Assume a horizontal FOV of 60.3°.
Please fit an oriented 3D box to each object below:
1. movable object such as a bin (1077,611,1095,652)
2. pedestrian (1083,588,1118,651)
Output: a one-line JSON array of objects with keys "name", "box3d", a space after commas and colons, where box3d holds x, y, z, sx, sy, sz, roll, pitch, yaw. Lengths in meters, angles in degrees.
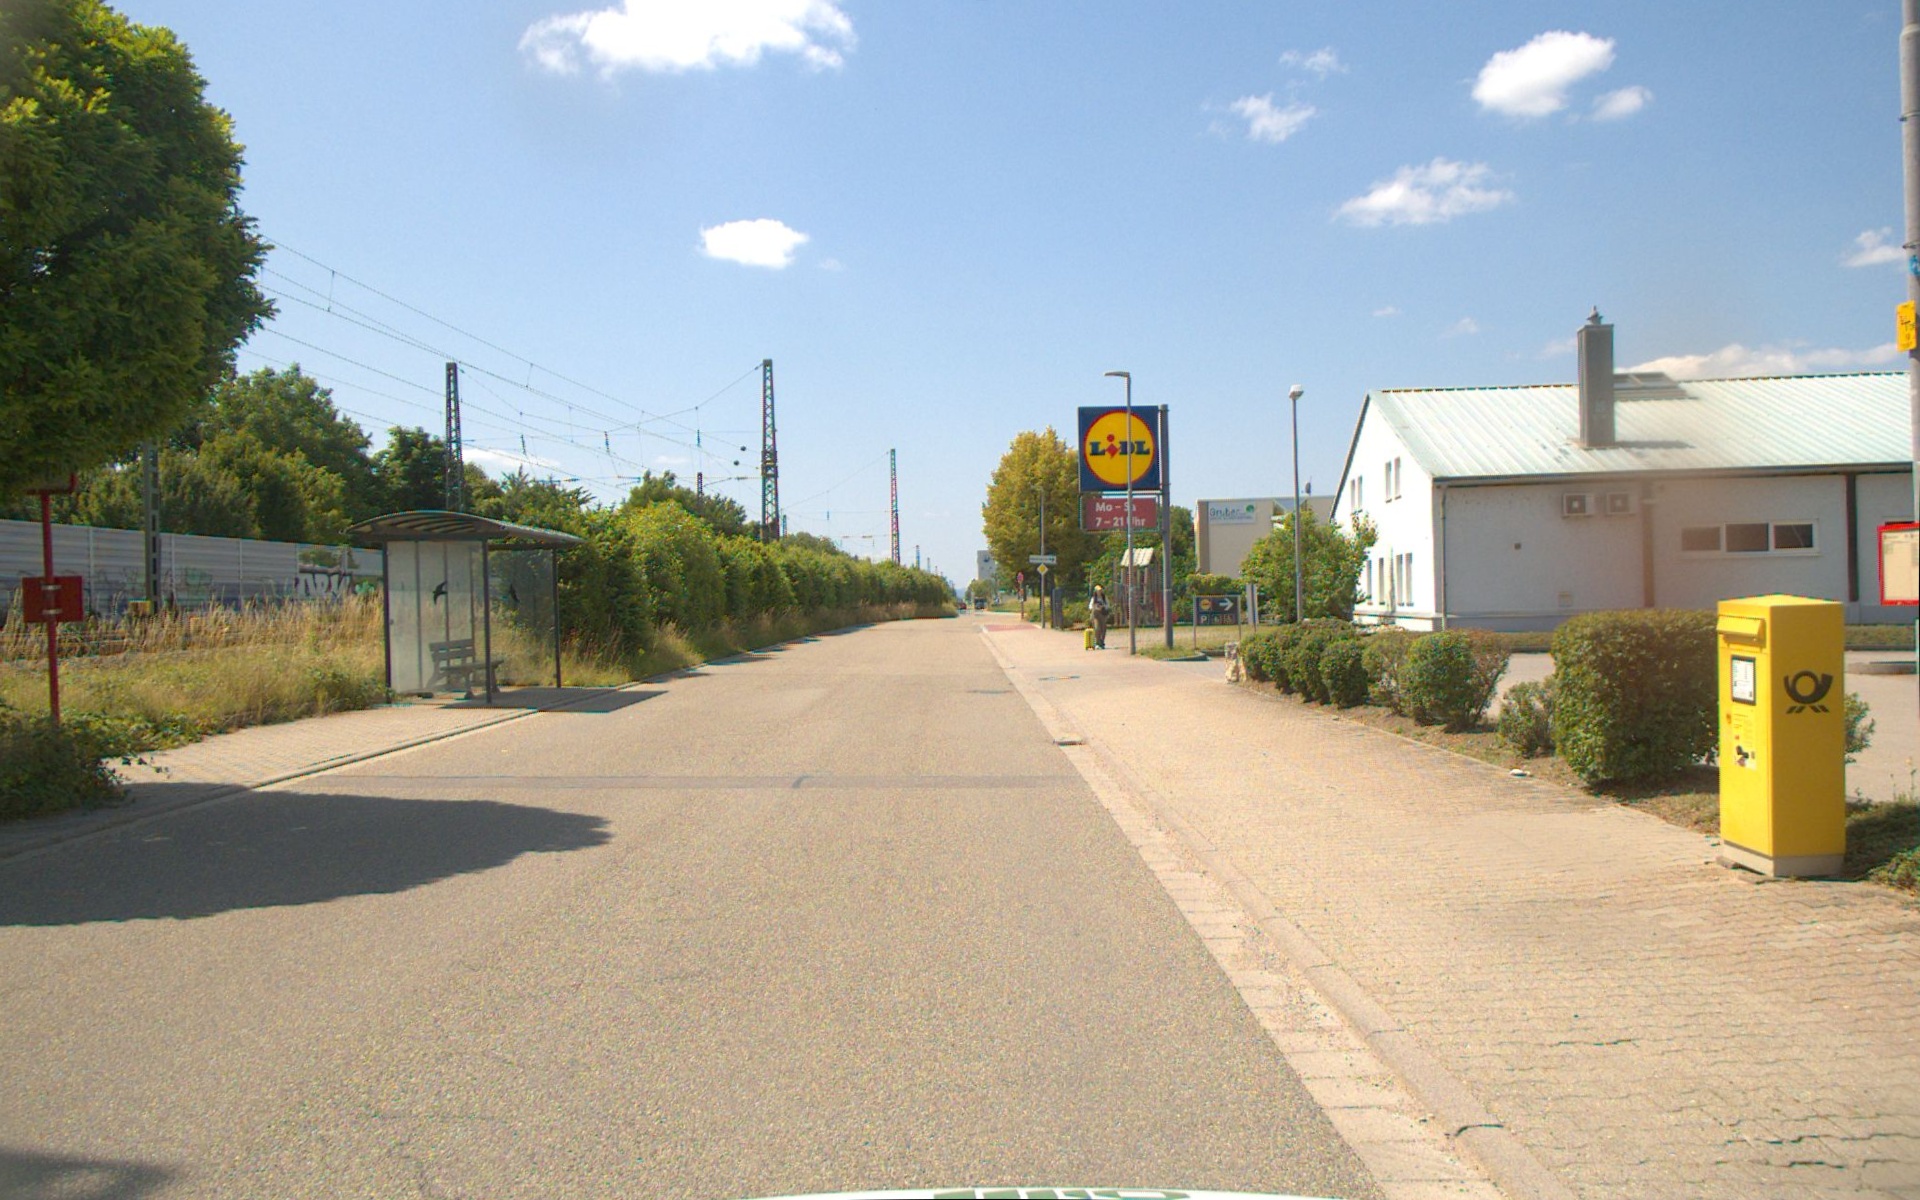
[{"name": "movable object such as a bin", "box3d": [3.297, 0.823, 43.147, 0.367, 1.047, 0.498, -2, 0, -5]}, {"name": "pedestrian", "box3d": [3.695, 0.508, 43.578, 0.746, 1.630, 1.209, -1, 0, -4]}]
